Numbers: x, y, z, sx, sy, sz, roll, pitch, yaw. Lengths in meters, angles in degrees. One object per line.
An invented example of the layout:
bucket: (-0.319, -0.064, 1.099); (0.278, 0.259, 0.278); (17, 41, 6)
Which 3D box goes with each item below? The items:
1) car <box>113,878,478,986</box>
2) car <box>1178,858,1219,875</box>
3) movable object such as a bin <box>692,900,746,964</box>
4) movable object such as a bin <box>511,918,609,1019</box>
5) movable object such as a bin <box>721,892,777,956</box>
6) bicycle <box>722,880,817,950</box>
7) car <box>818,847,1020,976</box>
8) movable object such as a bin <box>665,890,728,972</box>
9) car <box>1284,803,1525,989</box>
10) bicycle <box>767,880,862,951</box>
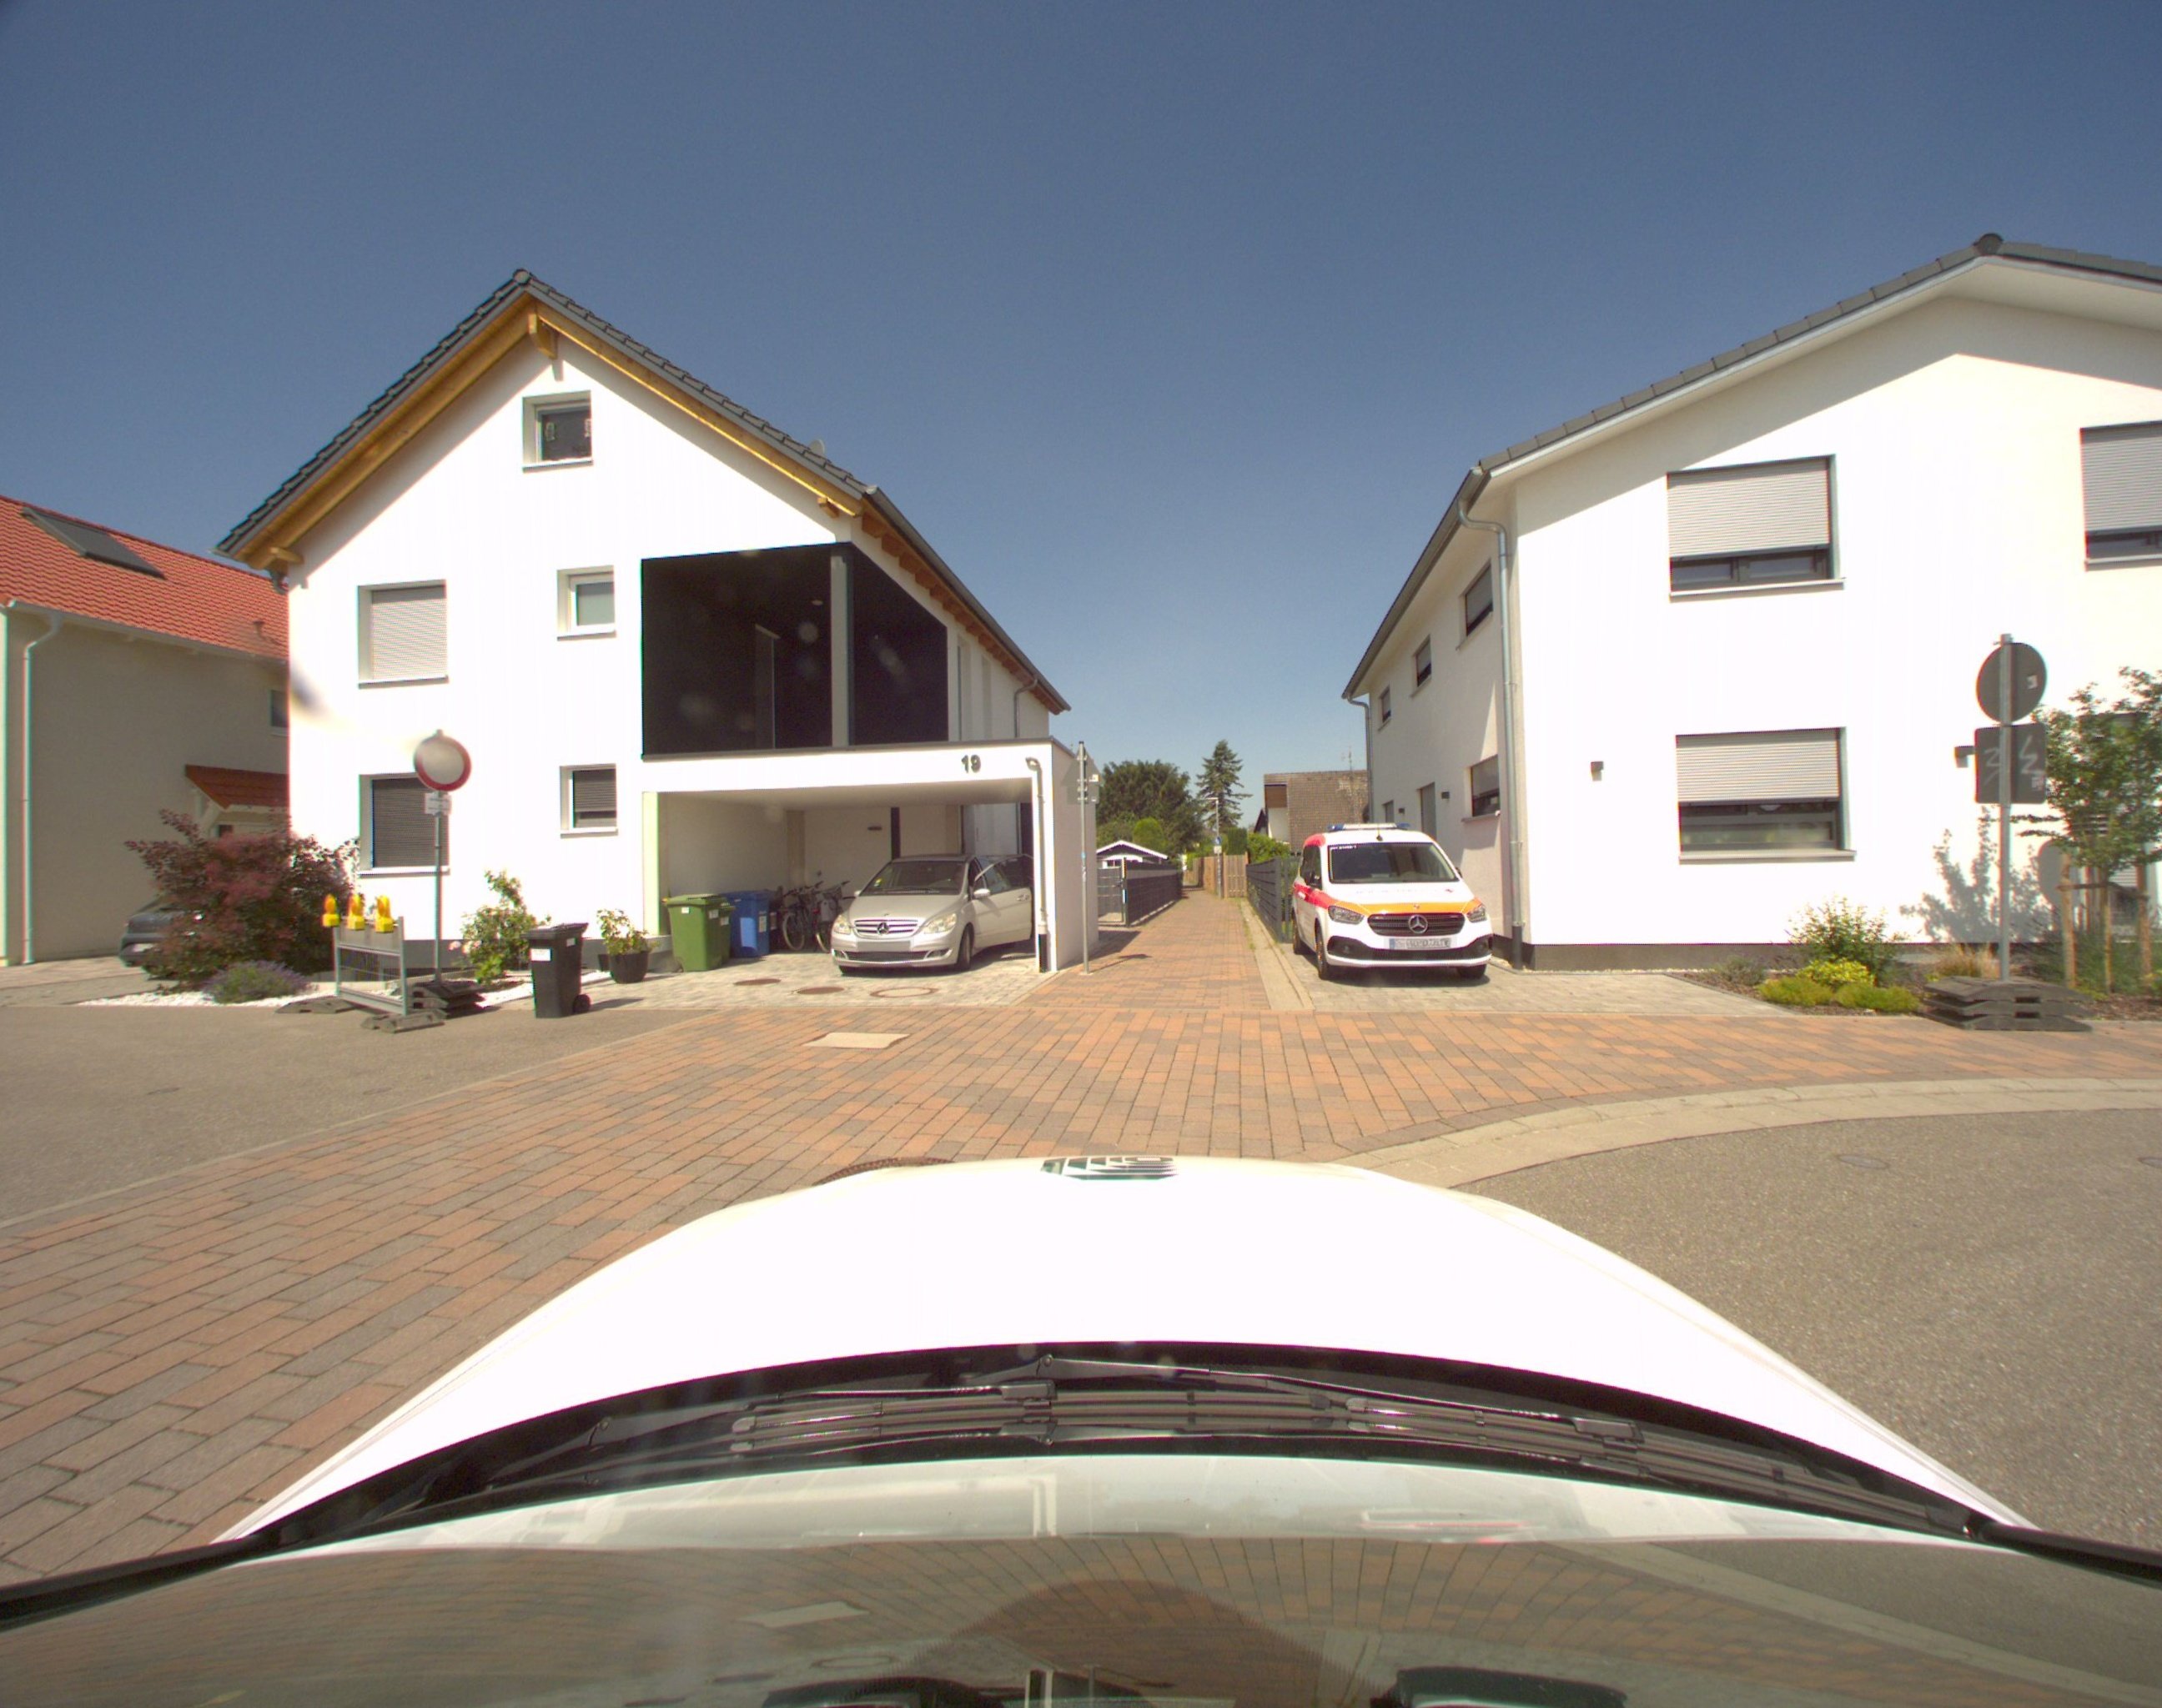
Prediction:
car: (-12.490, 1.153, 13.392); (1.740, 1.380, 4.070); (-2, -1, 8)
car: (12.223, 1.278, 84.369); (4.122, 1.717, 1.910); (-2, -1, 8)
movable object such as a bin: (-5.413, 1.160, 12.205); (0.556, 0.905, 0.501); (0, -1, 7)
movable object such as a bin: (-5.353, 1.164, 8.393); (0.560, 0.937, 0.620); (-2, 0, 7)
movable object such as a bin: (-5.357, 1.122, 13.144); (0.671, 0.987, 0.501); (0, -1, 7)
bicycle: (-5.566, 1.057, 14.699); (0.773, 1.127, 2.135); (0, -1, 4)
car: (-2.168, 0.752, 12.127); (1.730, 1.562, 4.172); (-1, -1, 6)
movable object such as a bin: (-5.485, 1.091, 11.639); (0.596, 1.092, 0.501); (-3, -1, 7)
car: (3.870, 0.474, 10.682); (1.921, 1.875, 4.763); (-1, -1, 9)
bicycle: (-4.693, 1.049, 14.534); (0.724, 1.127, 2.138); (-1, -1, 8)
